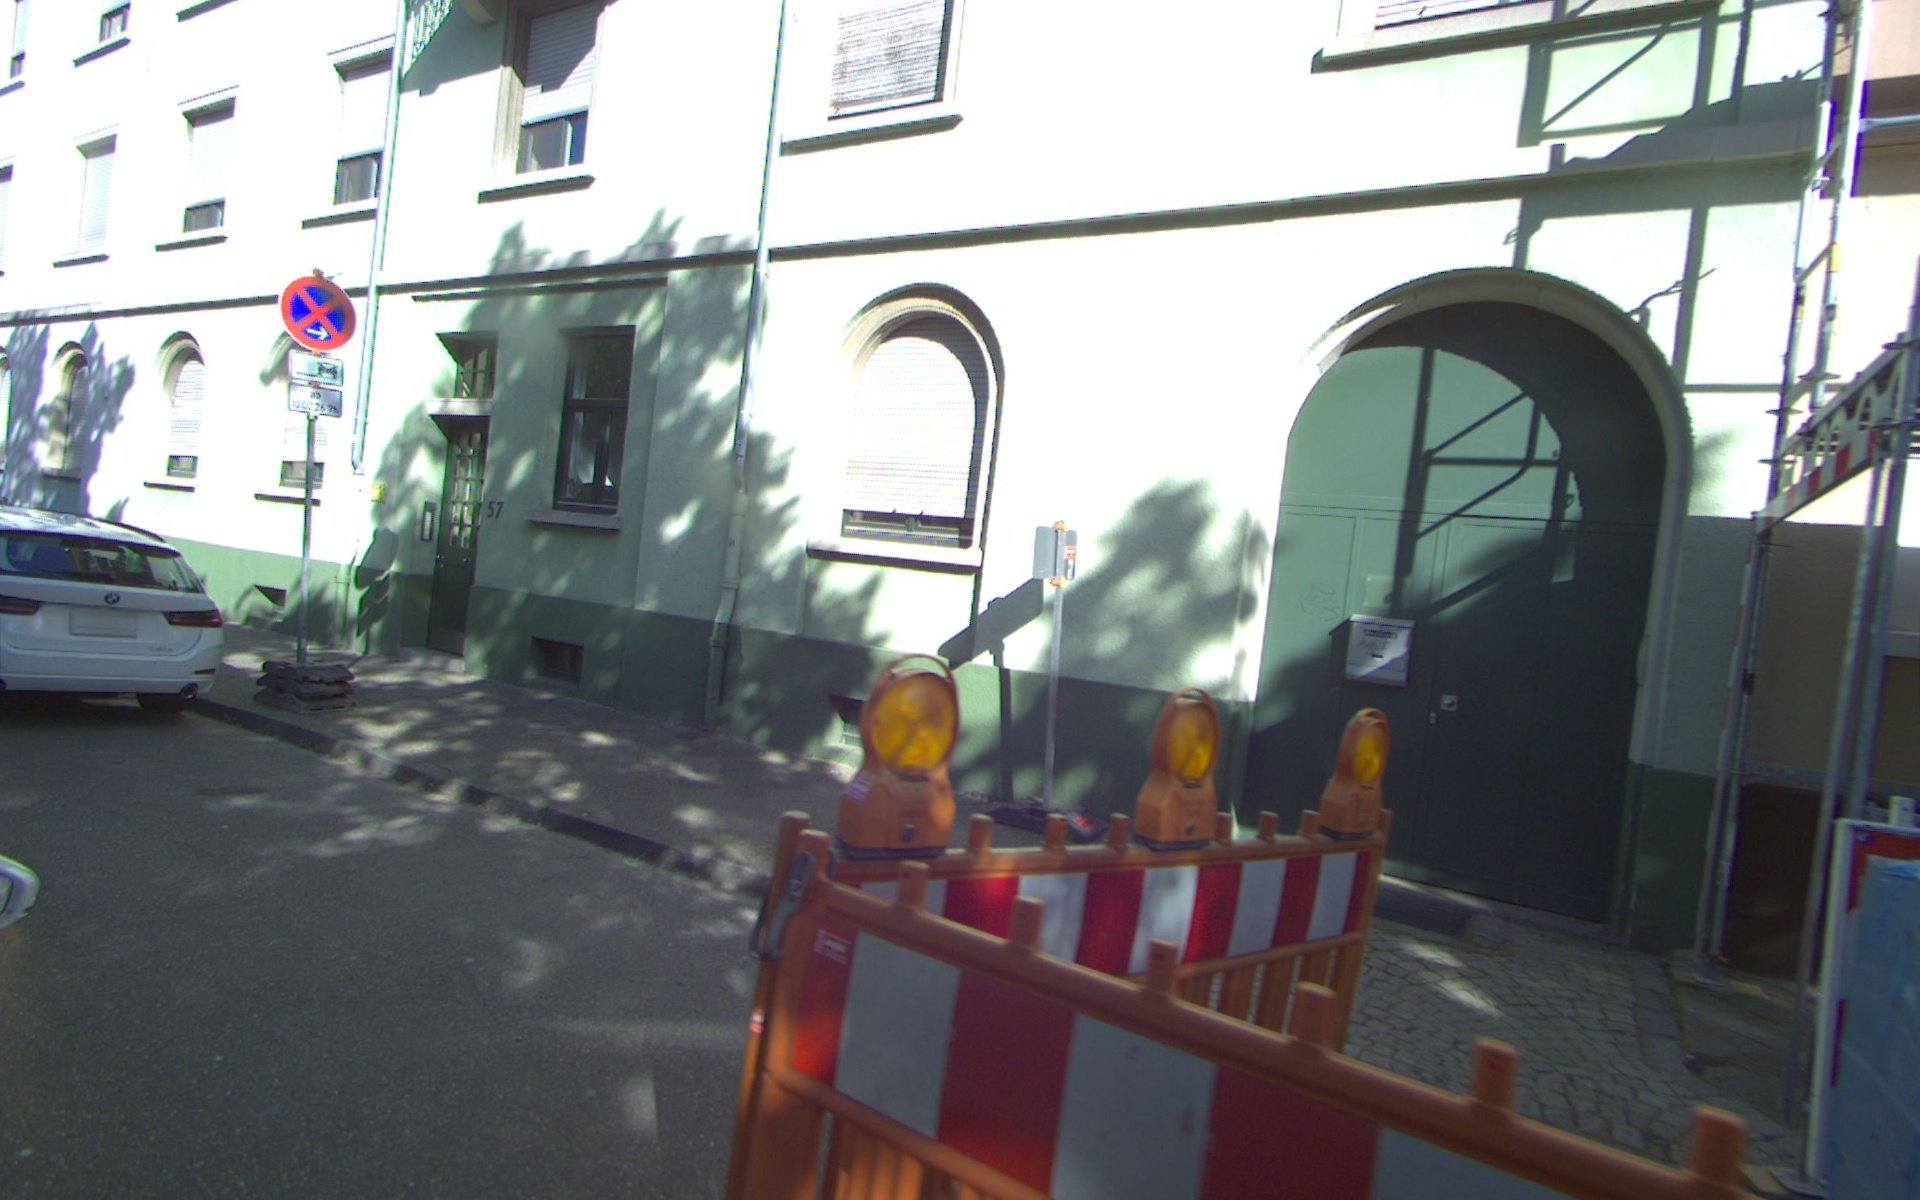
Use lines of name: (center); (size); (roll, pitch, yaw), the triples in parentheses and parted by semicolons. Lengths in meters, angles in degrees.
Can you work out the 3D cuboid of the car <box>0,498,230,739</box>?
car: (-7.772, -0.045, 7.875); (4.211, 1.530, 1.707); (7, 0, 31)
